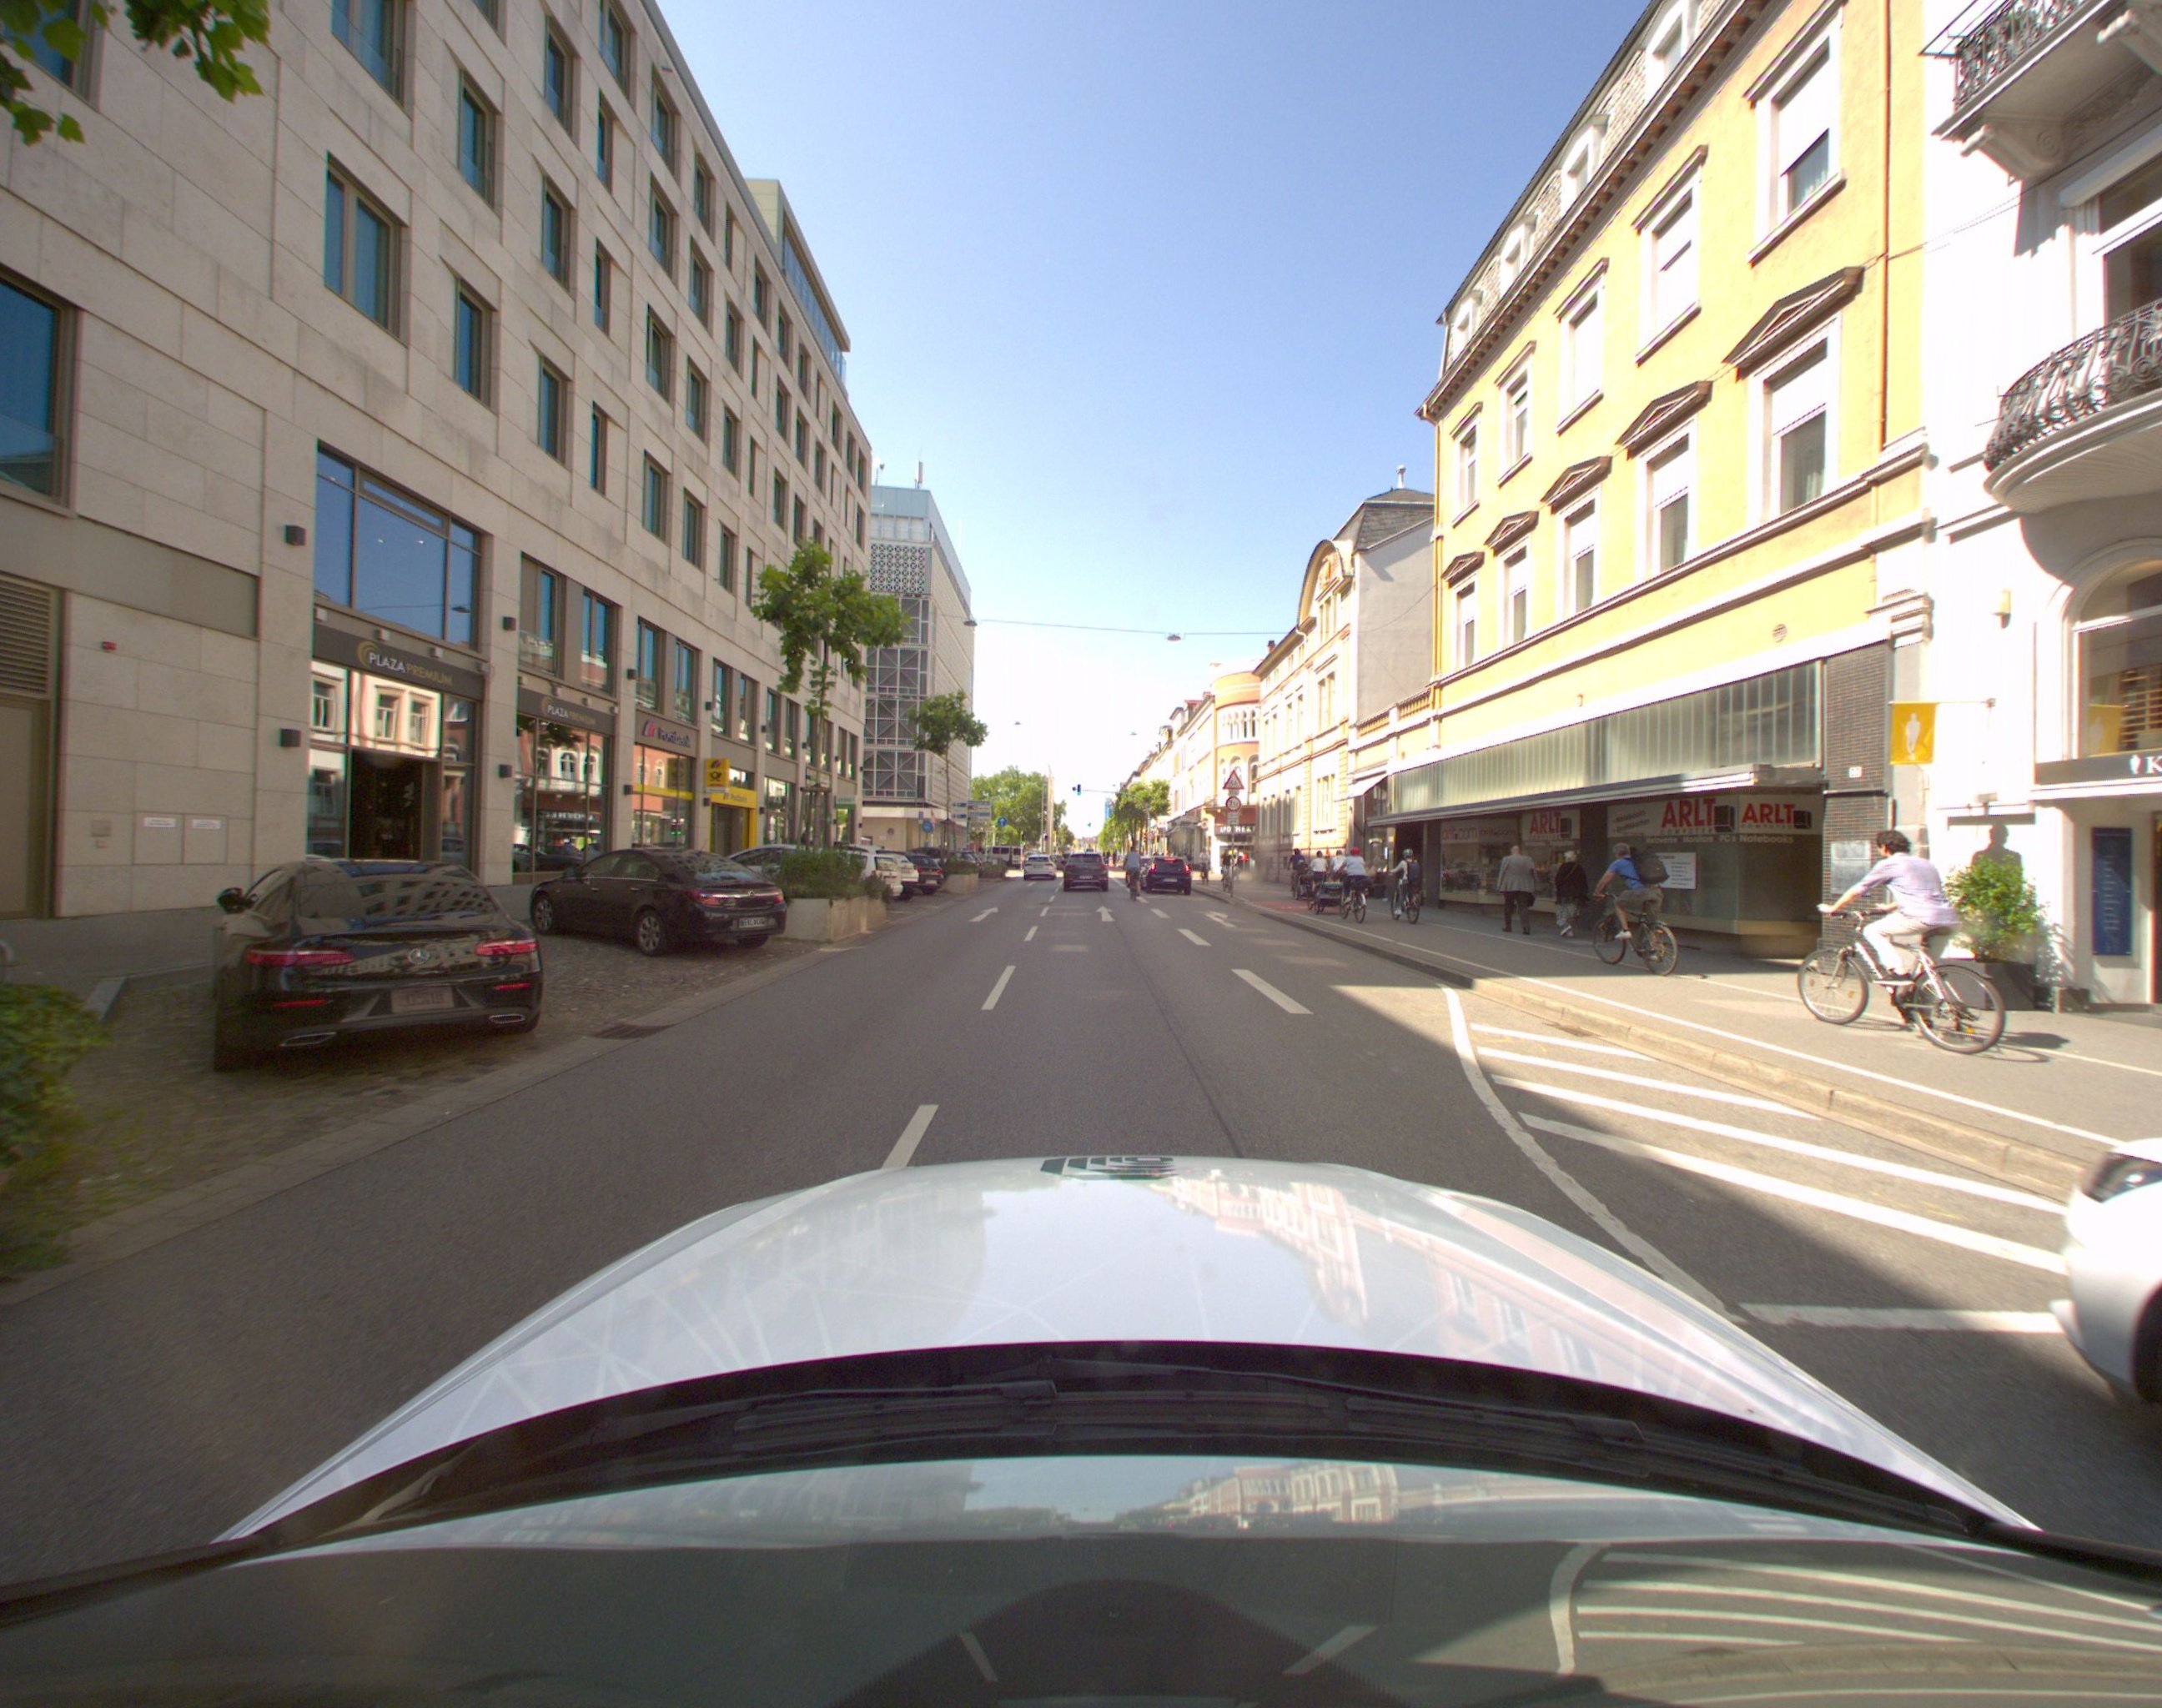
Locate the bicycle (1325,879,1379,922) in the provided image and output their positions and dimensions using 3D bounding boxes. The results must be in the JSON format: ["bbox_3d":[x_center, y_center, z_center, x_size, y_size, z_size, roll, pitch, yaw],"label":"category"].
[{"bbox_3d":[6.397,1.075,19.304,0.644,0.879,2.104,0,0,2],"label":"bicycle"}]

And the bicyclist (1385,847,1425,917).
[{"bbox_3d":[7.534,0.637,18.940,0.580,1.595,0.921,0,0,2],"label":"bicyclist"}]

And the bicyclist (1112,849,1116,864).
[{"bbox_3d":[3.668,0.254,90.738,0.418,1.630,0.709,0,0,2],"label":"bicyclist"}]

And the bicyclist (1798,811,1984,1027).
[{"bbox_3d":[7.090,0.532,7.184,0.644,1.769,1.013,0,0,1],"label":"bicyclist"}]

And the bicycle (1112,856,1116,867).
[{"bbox_3d":[3.660,0.808,90.620,0.418,1.135,1.911,0,0,2],"label":"bicycle"}]

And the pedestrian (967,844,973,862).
[{"bbox_3d":[-12.481,-0.114,91.772,0.623,2.013,0.571,0,0,-6],"label":"pedestrian"}]

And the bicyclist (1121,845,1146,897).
[{"bbox_3d":[1.754,0.544,27.247,0.692,1.673,0.916,3,1,1],"label":"bicyclist"}]

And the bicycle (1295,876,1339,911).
[{"bbox_3d":[6.712,1.108,23.300,0.644,0.879,2.390,0,0,2],"label":"bicycle"}]

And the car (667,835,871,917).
[{"bbox_3d":[-7.134,0.488,18.964,3.980,1.500,1.715,5,0,-5],"label":"car"}]

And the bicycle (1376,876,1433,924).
[{"bbox_3d":[7.541,1.053,19.058,0.561,0.996,2.104,0,0,2],"label":"bicycle"}]

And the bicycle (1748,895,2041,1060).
[{"bbox_3d":[7.085,0.999,7.276,0.553,1.120,2.072,-1,1,0],"label":"bicycle"}]

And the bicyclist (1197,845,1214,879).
[{"bbox_3d":[6.326,0.386,41.356,0.692,1.673,0.835,3,1,1],"label":"bicyclist"}]

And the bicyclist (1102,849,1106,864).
[{"bbox_3d":[2.625,0.258,91.407,0.418,1.630,0.709,0,0,2],"label":"bicyclist"}]

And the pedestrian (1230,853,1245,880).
[{"bbox_3d":[9.856,0.780,51.324,0.790,1.720,0.728,0,0,-5],"label":"pedestrian"}]

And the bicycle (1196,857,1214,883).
[{"bbox_3d":[6.273,0.777,41.269,0.553,1.209,2.243,3,1,0],"label":"bicycle"}]

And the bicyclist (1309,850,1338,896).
[{"bbox_3d":[6.673,0.519,22.398,0.621,1.248,0.608,0,0,1],"label":"bicyclist"}]

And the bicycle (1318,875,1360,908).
[{"bbox_3d":[7.683,1.107,24.345,0.644,0.879,2.104,0,0,2],"label":"bicycle"}]

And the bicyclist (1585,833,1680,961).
[{"bbox_3d":[7.647,0.571,11.327,0.644,1.684,1.013,0,0,1],"label":"bicyclist"}]

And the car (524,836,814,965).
[{"bbox_3d":[-6.376,0.599,12.494,4.300,1.513,1.844,3,0,30],"label":"car"}]

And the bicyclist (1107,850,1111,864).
[{"bbox_3d":[3.219,0.355,94.437,0.418,1.630,0.669,0,0,2],"label":"bicyclist"}]

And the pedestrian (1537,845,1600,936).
[{"bbox_3d":[9.324,0.683,15.597,0.644,1.684,0.944,0,0,1],"label":"pedestrian"}]

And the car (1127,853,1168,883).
[{"bbox_3d":[3.295,0.682,41.004,1.815,1.385,4.001,1,1,1],"label":"car"}]

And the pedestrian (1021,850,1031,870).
[{"bbox_3d":[-4.435,0.506,66.229,0.616,1.615,0.545,2,-2,-30],"label":"pedestrian"}]

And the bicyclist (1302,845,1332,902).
[{"bbox_3d":[6.699,0.539,23.144,0.629,1.595,0.920,0,-1,2],"label":"bicyclist"}]

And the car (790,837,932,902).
[{"bbox_3d":[-6.848,0.463,25.360,3.952,1.568,1.709,6,0,25],"label":"car"}]

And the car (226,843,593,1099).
[{"bbox_3d":[-6.172,0.713,7.246,4.593,1.408,1.918,3,1,43],"label":"car"}]

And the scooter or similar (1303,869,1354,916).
[{"bbox_3d":[6.450,0.988,21.345,0.867,1.122,1.621,-1,0,2],"label":"scooter or similar"}]

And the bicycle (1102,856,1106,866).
[{"bbox_3d":[2.598,0.768,91.240,0.418,1.135,1.911,0,0,2],"label":"bicycle"}]

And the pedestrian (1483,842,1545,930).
[{"bbox_3d":[8.710,0.650,16.413,0.872,1.718,0.837,0,-3,10],"label":"pedestrian"}]

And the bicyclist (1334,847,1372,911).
[{"bbox_3d":[6.390,0.568,19.148,0.622,1.476,0.890,0,0,2],"label":"bicyclist"}]

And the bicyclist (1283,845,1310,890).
[{"bbox_3d":[7.776,0.495,29.417,0.707,1.595,0.964,0,0,2],"label":"bicyclist"}]

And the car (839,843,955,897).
[{"bbox_3d":[-6.500,0.535,28.633,3.950,1.459,1.680,6,0,37],"label":"car"}]

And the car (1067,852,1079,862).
[{"bbox_3d":[-1.223,0.374,120.464,1.738,1.441,3.999,0,0,-1],"label":"car"}]

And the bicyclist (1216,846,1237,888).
[{"bbox_3d":[5.911,0.551,33.151,0.692,1.674,0.835,1,-3,1],"label":"bicyclist"}]

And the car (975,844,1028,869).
[{"bbox_3d":[-7.107,0.192,72.547,4.664,2.004,1.953,2,-2,40],"label":"car"}]

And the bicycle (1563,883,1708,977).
[{"bbox_3d":[7.670,1.004,11.401,0.644,1.120,2.103,0,0,1],"label":"bicycle"}]

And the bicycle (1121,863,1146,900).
[{"bbox_3d":[1.745,0.900,27.192,0.662,1.120,2.243,3,1,0],"label":"bicycle"}]

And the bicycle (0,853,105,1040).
[{"bbox_3d":[-8.286,0.574,5.470,2.069,1.219,0.756,4,-1,-17],"label":"bicycle"}]

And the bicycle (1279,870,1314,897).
[{"bbox_3d":[7.758,1.054,29.380,0.737,0.879,2.138,0,0,2],"label":"bicycle"}]

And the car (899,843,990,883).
[{"bbox_3d":[-6.495,0.431,39.115,3.977,1.545,1.716,5,0,-2],"label":"car"}]

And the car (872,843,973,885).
[{"bbox_3d":[-6.890,0.432,35.680,3.977,1.500,1.716,5,0,-2],"label":"car"}]

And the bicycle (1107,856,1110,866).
[{"bbox_3d":[3.201,0.761,94.438,0.418,1.135,1.911,0,0,2],"label":"bicycle"}]

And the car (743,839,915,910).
[{"bbox_3d":[-6.726,0.518,21.833,3.957,1.490,1.791,5,0,17],"label":"car"}]

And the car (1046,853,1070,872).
[{"bbox_3d":[-1.742,0.615,62.970,1.738,1.441,3.999,0,0,-1],"label":"car"}]

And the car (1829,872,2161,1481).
[{"bbox_3d":[3.652,0.873,0.616,1.809,1.466,4.576,2,1,-3],"label":"car"}]

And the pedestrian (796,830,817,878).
[{"bbox_3d":[-11.632,-0.005,34.489,0.622,2.013,0.701,0,0,1],"label":"pedestrian"}]

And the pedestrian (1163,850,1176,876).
[{"bbox_3d":[6.028,0.602,55.587,0.721,1.809,0.657,0,0,17],"label":"pedestrian"}]

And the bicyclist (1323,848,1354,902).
[{"bbox_3d":[7.697,0.618,24.360,0.655,1.595,0.920,0,0,2],"label":"bicyclist"}]

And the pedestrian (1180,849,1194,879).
[{"bbox_3d":[6.574,0.609,50.498,0.652,1.809,0.726,0,0,-11],"label":"pedestrian"}]

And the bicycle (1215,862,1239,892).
[{"bbox_3d":[5.895,0.904,32.995,0.553,1.120,2.243,3,1,0],"label":"bicycle"}]

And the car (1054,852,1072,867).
[{"bbox_3d":[-1.792,0.547,81.212,1.738,1.441,3.999,0,0,-1],"label":"car"}]

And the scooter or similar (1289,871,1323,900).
[{"bbox_3d":[7.689,1.073,27.852,0.849,0.919,1.165,0,0,1],"label":"scooter or similar"}]

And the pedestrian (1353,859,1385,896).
[{"bbox_3d":[10.267,0.831,29.068,0.931,1.269,0.568,-2,0,6],"label":"pedestrian"}]

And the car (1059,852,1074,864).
[{"bbox_3d":[-1.755,0.487,97.348,1.738,1.441,3.999,0,0,-1],"label":"car"}]

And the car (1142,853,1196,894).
[{"bbox_3d":[3.485,0.745,32.865,1.816,1.409,3.187,3,1,1],"label":"car"}]

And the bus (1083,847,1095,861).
[{"bbox_3d":[2.205,0.021,227.209,2.764,3.605,8.963,0,0,-3],"label":"bus"}]

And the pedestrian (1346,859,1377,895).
[{"bbox_3d":[10.244,0.823,29.750,0.931,1.269,0.568,-2,0,6],"label":"pedestrian"}]

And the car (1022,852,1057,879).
[{"bbox_3d":[-2.345,0.630,47.117,1.857,1.441,3.999,0,0,-1],"label":"car"}]

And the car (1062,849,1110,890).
[{"bbox_3d":[0.196,0.626,33.241,1.827,1.527,3.999,1,-1,0],"label":"car"}]
